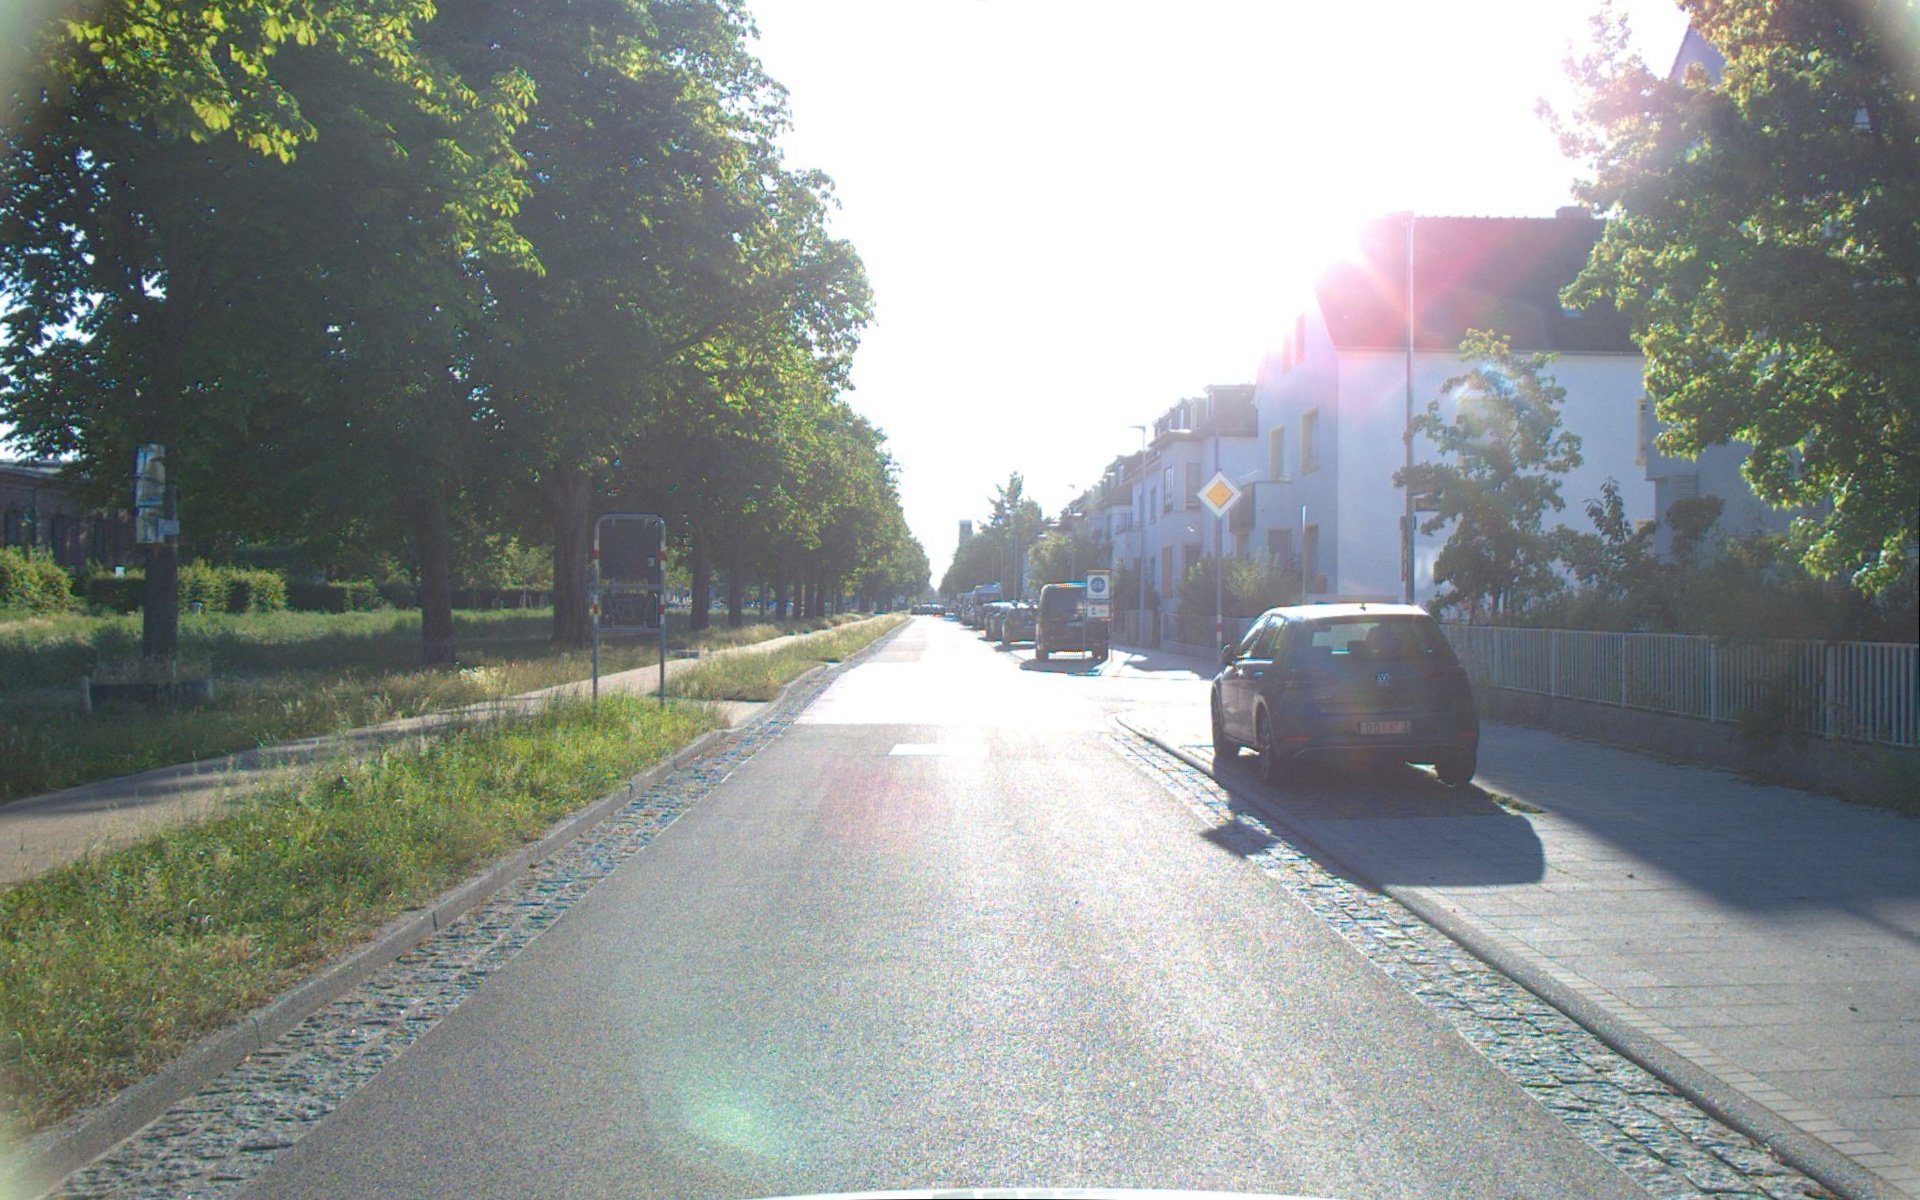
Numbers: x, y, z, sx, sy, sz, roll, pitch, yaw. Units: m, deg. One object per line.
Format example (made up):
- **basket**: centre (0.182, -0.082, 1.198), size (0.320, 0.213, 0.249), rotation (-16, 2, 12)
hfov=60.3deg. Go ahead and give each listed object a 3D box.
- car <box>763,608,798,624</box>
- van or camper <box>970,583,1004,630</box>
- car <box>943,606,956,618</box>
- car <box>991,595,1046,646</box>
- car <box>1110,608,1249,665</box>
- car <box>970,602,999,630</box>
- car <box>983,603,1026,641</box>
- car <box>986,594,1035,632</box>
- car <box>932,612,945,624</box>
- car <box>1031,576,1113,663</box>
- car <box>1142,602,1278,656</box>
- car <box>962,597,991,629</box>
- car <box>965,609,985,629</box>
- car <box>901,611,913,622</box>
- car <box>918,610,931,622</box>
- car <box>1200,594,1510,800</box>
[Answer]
- **car**: centre (-22.653, 2.039, 208.912), size (4.266, 1.795, 1.995), rotation (2, -1, -10)
- **van or camper**: centre (1.699, 0.483, 106.318), size (1.904, 2.826, 5.938), rotation (2, -1, -1)
- **car**: centre (-1.419, 1.666, 224.318), size (1.616, 1.557, 3.850), rotation (3, -1, 0)
- **car**: centre (2.124, 0.744, 61.384), size (1.757, 1.802, 4.471), rotation (-1, 0, -1)
- **car**: centre (6.991, 1.161, 52.979), size (4.134, 1.756, 1.851), rotation (1, -1, -5)
- **car**: centre (1.458, 0.968, 100.023), size (1.630, 1.621, 4.085), rotation (2, -1, -1)
- **car**: centre (2.090, 1.024, 78.891), size (1.795, 1.714, 4.414), rotation (3, 0, -1)
- **car**: centre (2.194, 0.590, 73.029), size (1.684, 1.601, 4.206), rotation (-1, -1, -4)
- **car**: centre (-3.107, 2.646, 242.627), size (1.825, 1.625, 3.892), rotation (1, 0, -2)
- **car**: centre (2.962, 0.508, 44.721), size (1.867, 2.169, 4.814), rotation (-1, 0, 0)
- **car**: centre (8.229, 0.949, 54.676), size (4.134, 1.756, 1.851), rotation (0, -1, -5)
- **car**: centre (1.321, 1.049, 136.772), size (2.084, 2.577, 5.185), rotation (0, -1, -3)
- **car**: centre (1.173, 1.460, 130.471), size (1.616, 1.557, 3.851), rotation (0, 0, 0)
- **car**: centre (-7.988, 2.564, 250.598), size (1.616, 1.557, 3.850), rotation (4, -1, 0)
- **car**: centre (-5.047, 2.298, 235.031), size (1.825, 1.625, 3.868), rotation (2, -1, -2)
- **car**: centre (3.335, 0.741, 14.785), size (1.757, 1.508, 4.123), rotation (-2, 1, 0)
